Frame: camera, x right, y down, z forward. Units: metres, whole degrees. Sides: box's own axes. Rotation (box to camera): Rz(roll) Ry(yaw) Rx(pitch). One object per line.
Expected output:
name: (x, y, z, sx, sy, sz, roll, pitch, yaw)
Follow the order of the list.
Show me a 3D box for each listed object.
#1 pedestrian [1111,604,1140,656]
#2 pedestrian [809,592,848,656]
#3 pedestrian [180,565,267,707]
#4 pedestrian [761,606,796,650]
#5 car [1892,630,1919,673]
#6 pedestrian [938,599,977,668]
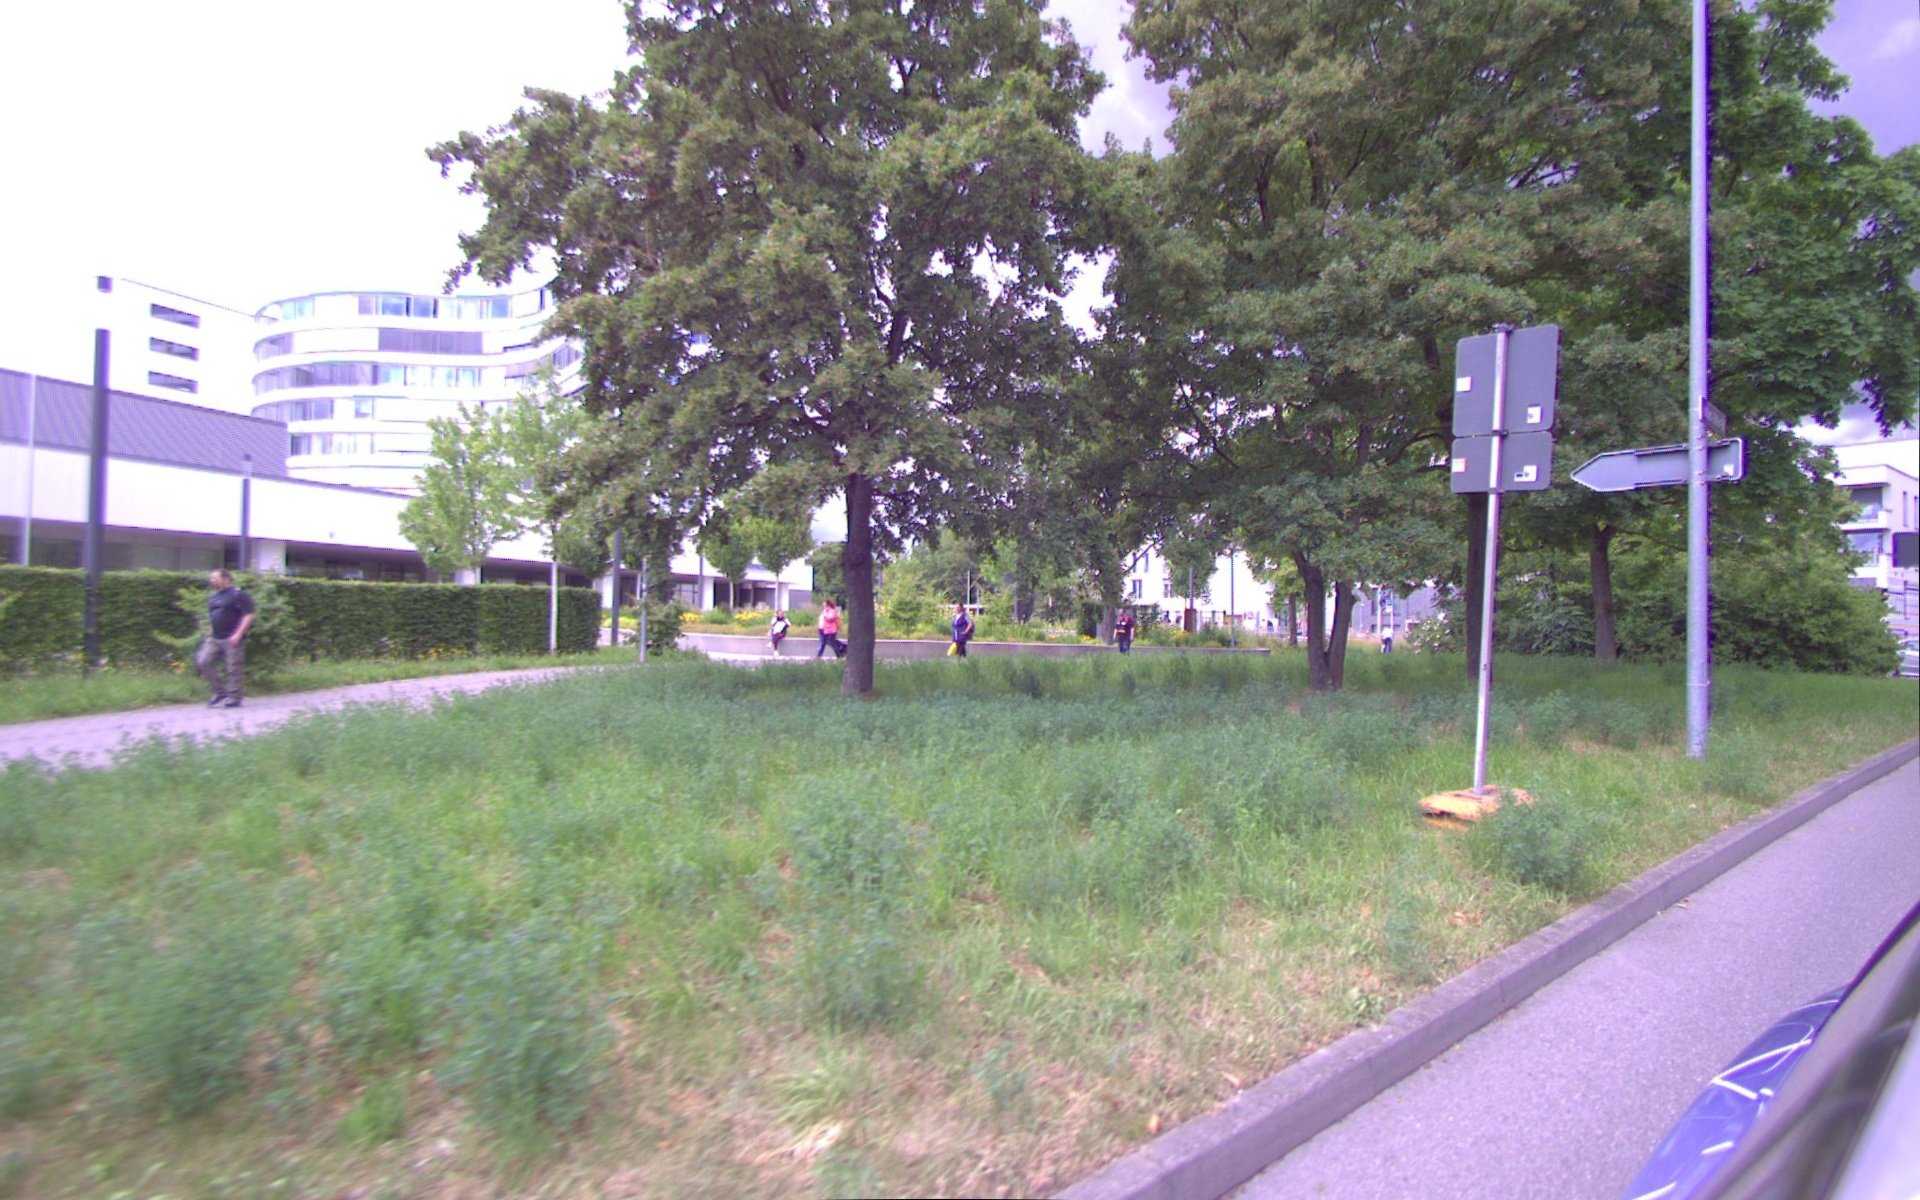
pedestrian: (4.623, 0.828, 28.227, 0.668, 1.433, 0.662, 0, 0, 24)
pedestrian: (-3.211, 0.577, 24.658, 0.673, 1.526, 0.658, 0, 0, 40)
pedestrian: (-8.924, 0.423, 12.275, 0.629, 1.665, 0.601, 0, 0, 16)
pedestrian: (-4.891, 0.755, 27.280, 0.673, 1.156, 0.658, 0, 0, 40)
car: (35.654, 1.903, 35.713, 1.793, 1.505, 4.000, 0, 0, 0)
pedestrian: (-0.052, 0.793, 24.365, 0.655, 1.627, 0.675, 0, 0, -41)
